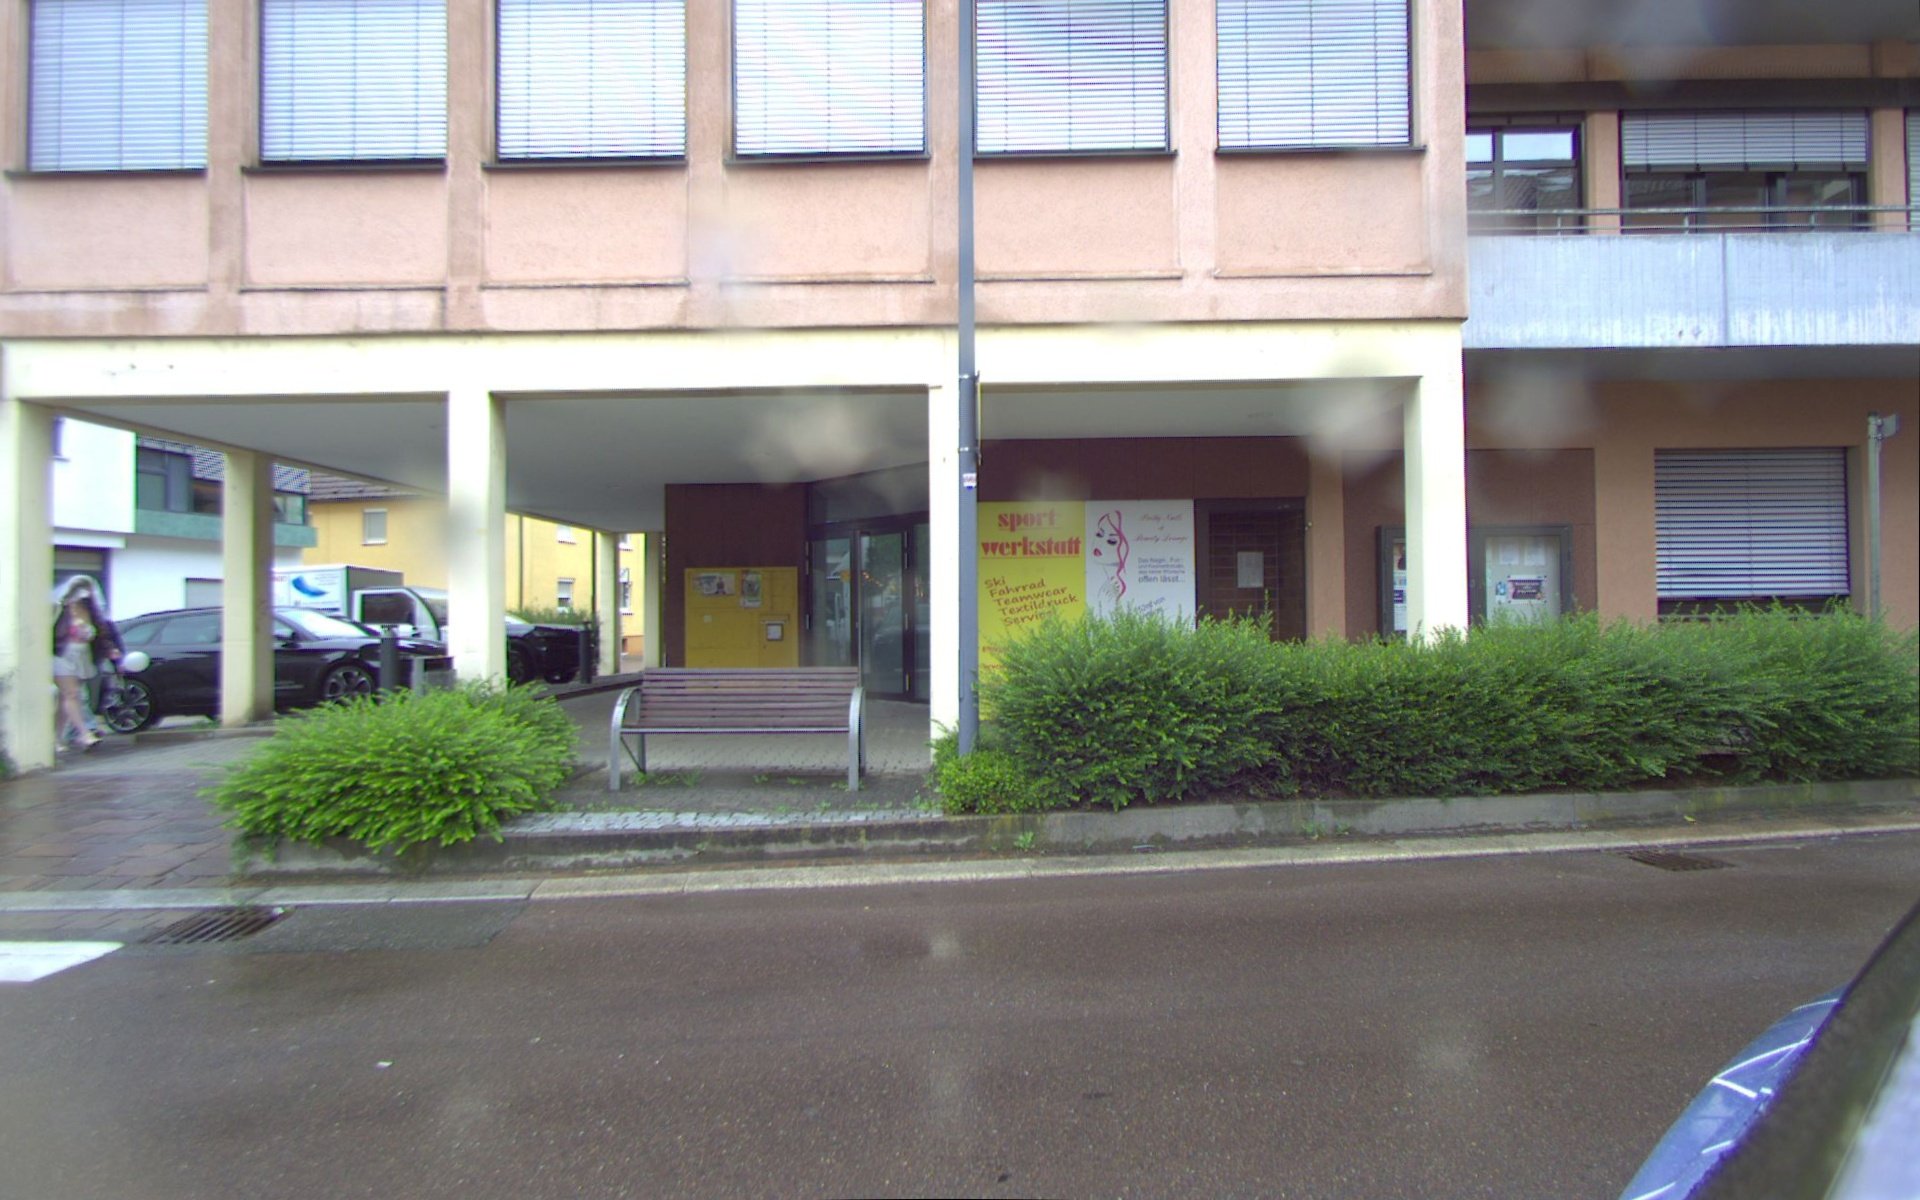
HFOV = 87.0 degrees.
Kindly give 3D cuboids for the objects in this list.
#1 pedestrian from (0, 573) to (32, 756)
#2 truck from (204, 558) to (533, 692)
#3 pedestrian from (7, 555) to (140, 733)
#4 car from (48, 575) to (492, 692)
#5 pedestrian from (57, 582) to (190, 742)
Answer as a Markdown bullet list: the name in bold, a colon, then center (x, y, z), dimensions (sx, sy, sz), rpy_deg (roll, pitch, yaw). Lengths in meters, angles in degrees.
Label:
- **pedestrian**: center (-9.229, 0.600, 9.281), dimensions (0.804, 1.682, 0.699), rpy_deg (-1, -1, -4)
- **truck**: center (-8.728, 0.357, 15.174), dimensions (3.925, 1.831, 1.768), rpy_deg (-1, 0, 1)
- **pedestrian**: center (-8.879, 0.421, 10.166), dimensions (0.718, 1.711, 0.726), rpy_deg (-1, -1, -5)
- **car**: center (-8.403, 0.393, 12.579), dimensions (4.389, 1.292, 1.767), rpy_deg (-1, 0, 3)
- **pedestrian**: center (-9.156, 0.646, 11.092), dimensions (0.729, 1.660, 0.956), rpy_deg (-1, -1, 33)
